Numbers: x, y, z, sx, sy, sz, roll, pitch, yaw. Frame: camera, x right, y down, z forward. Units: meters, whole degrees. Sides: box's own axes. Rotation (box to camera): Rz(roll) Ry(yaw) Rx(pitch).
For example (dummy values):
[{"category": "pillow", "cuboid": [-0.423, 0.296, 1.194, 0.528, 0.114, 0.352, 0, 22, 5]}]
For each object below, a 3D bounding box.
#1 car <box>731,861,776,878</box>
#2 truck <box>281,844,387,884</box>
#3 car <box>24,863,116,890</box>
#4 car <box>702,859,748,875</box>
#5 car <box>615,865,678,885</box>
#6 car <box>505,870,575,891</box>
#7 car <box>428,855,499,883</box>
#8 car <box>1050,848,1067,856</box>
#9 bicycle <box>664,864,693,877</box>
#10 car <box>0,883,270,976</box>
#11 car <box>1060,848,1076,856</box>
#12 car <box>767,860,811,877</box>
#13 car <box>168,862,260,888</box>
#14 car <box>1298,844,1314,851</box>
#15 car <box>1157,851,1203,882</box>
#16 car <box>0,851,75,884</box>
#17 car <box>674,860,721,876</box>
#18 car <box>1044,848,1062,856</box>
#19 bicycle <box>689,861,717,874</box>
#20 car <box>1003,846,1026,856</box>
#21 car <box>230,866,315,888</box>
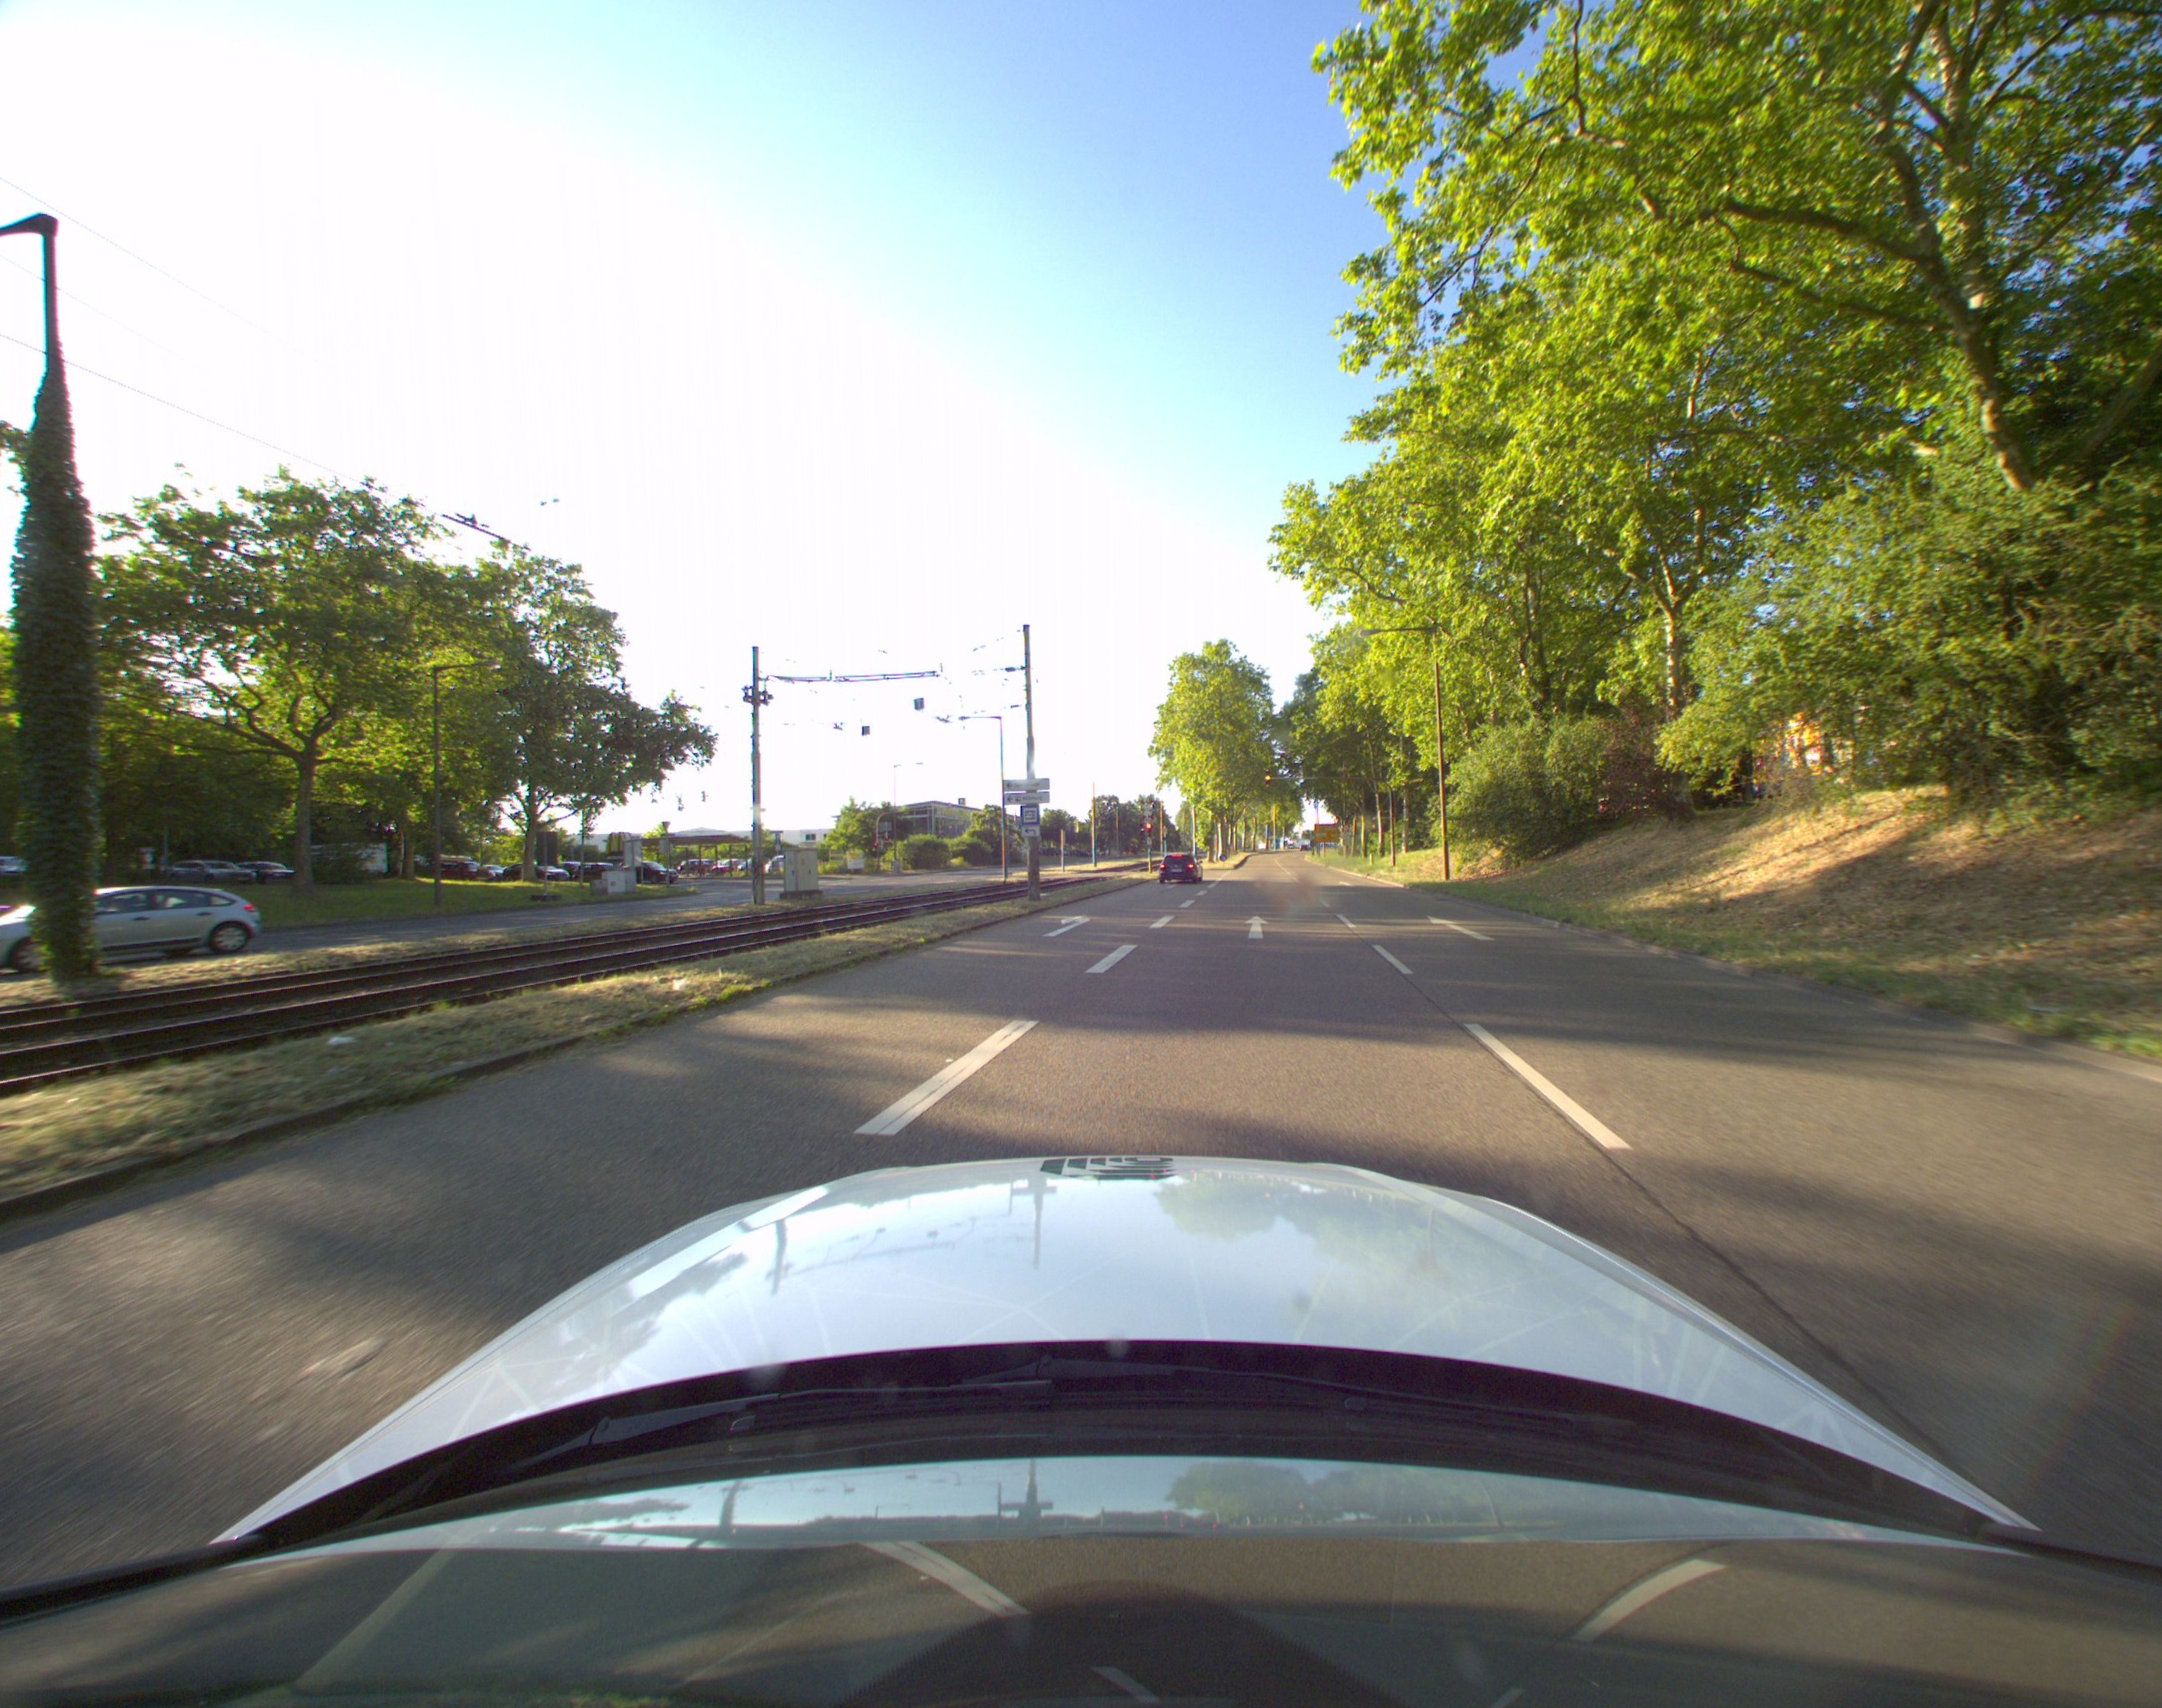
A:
[{"category": "car", "cuboid": [-30.326, 1.393, 75.505, 1.827, 1.442, 4.016, -1, 0, 15]}, {"category": "truck", "cuboid": [-66.481, 0.891, 72.496, 8.231, 3.388, 2.744, -1, 0, 13]}, {"category": "car", "cuboid": [-59.736, 1.331, 48.151, 3.958, 1.530, 1.931, -1, 0, 15]}, {"category": "car", "cuboid": [-33.449, 1.199, 76.608, 1.827, 1.442, 4.016, -1, 0, 15]}, {"category": "car", "cuboid": [-31.631, 1.538, 59.290, 4.022, 1.387, 1.792, -1, 0, 18]}, {"category": "car", "cuboid": [-38.142, 1.868, 57.460, 4.026, 1.387, 1.791, -1, 0, 13]}, {"category": "car", "cuboid": [-44.352, 1.091, 58.510, 3.957, 1.860, 2.008, -2, 0, 15]}, {"category": "car", "cuboid": [-4.441, -0.468, 159.476, 3.124, 1.490, 1.459, -1, 0, 9]}, {"category": "bicycle", "cuboid": [-34.931, 1.421, 70.724, 0.659, 1.065, 2.205, -1, 0, 43]}, {"category": "car", "cuboid": [-18.833, 1.376, 15.697, 1.641, 1.416, 4.275, -1, 0, 14]}, {"category": "car", "cuboid": [-2.592, -0.468, 162.665, 3.124, 1.490, 1.459, -1, 0, 9]}, {"category": "car", "cuboid": [-27.001, 1.322, 75.389, 1.827, 1.442, 4.016, -1, 0, 15]}, {"category": "car", "cuboid": [-49.238, 1.178, 46.272, 3.961, 1.372, 1.679, -1, 0, 11]}, {"category": "car", "cuboid": [47.951, -1.442, 173.596, 1.775, 1.403, 3.712, -2, -1, 40]}, {"category": "car", "cuboid": [4.816, 0.578, 39.362, 1.780, 1.403, 3.702, -1, 0, 13]}, {"category": "car", "cuboid": [-50.727, 0.626, 39.100, 3.953, 1.530, 1.871, -1, 0, 21]}, {"category": "car", "cuboid": [-36.592, 1.361, 77.793, 1.827, 1.442, 4.016, -1, 0, 15]}, {"category": "car", "cuboid": [-5.393, -0.385, 156.536, 3.124, 1.490, 1.459, -1, 0, 9]}, {"category": "bicycle", "cuboid": [-32.305, 1.132, 69.592, 0.659, 1.065, 2.206, -1, 0, 30]}, {"category": "car", "cuboid": [-9.840, -0.411, 120.291, 3.124, 1.391, 1.459, -1, 0, 9]}, {"category": "car", "cuboid": [-48.726, 1.392, 49.121, 3.961, 1.260, 1.679, -1, 0, 11]}]
